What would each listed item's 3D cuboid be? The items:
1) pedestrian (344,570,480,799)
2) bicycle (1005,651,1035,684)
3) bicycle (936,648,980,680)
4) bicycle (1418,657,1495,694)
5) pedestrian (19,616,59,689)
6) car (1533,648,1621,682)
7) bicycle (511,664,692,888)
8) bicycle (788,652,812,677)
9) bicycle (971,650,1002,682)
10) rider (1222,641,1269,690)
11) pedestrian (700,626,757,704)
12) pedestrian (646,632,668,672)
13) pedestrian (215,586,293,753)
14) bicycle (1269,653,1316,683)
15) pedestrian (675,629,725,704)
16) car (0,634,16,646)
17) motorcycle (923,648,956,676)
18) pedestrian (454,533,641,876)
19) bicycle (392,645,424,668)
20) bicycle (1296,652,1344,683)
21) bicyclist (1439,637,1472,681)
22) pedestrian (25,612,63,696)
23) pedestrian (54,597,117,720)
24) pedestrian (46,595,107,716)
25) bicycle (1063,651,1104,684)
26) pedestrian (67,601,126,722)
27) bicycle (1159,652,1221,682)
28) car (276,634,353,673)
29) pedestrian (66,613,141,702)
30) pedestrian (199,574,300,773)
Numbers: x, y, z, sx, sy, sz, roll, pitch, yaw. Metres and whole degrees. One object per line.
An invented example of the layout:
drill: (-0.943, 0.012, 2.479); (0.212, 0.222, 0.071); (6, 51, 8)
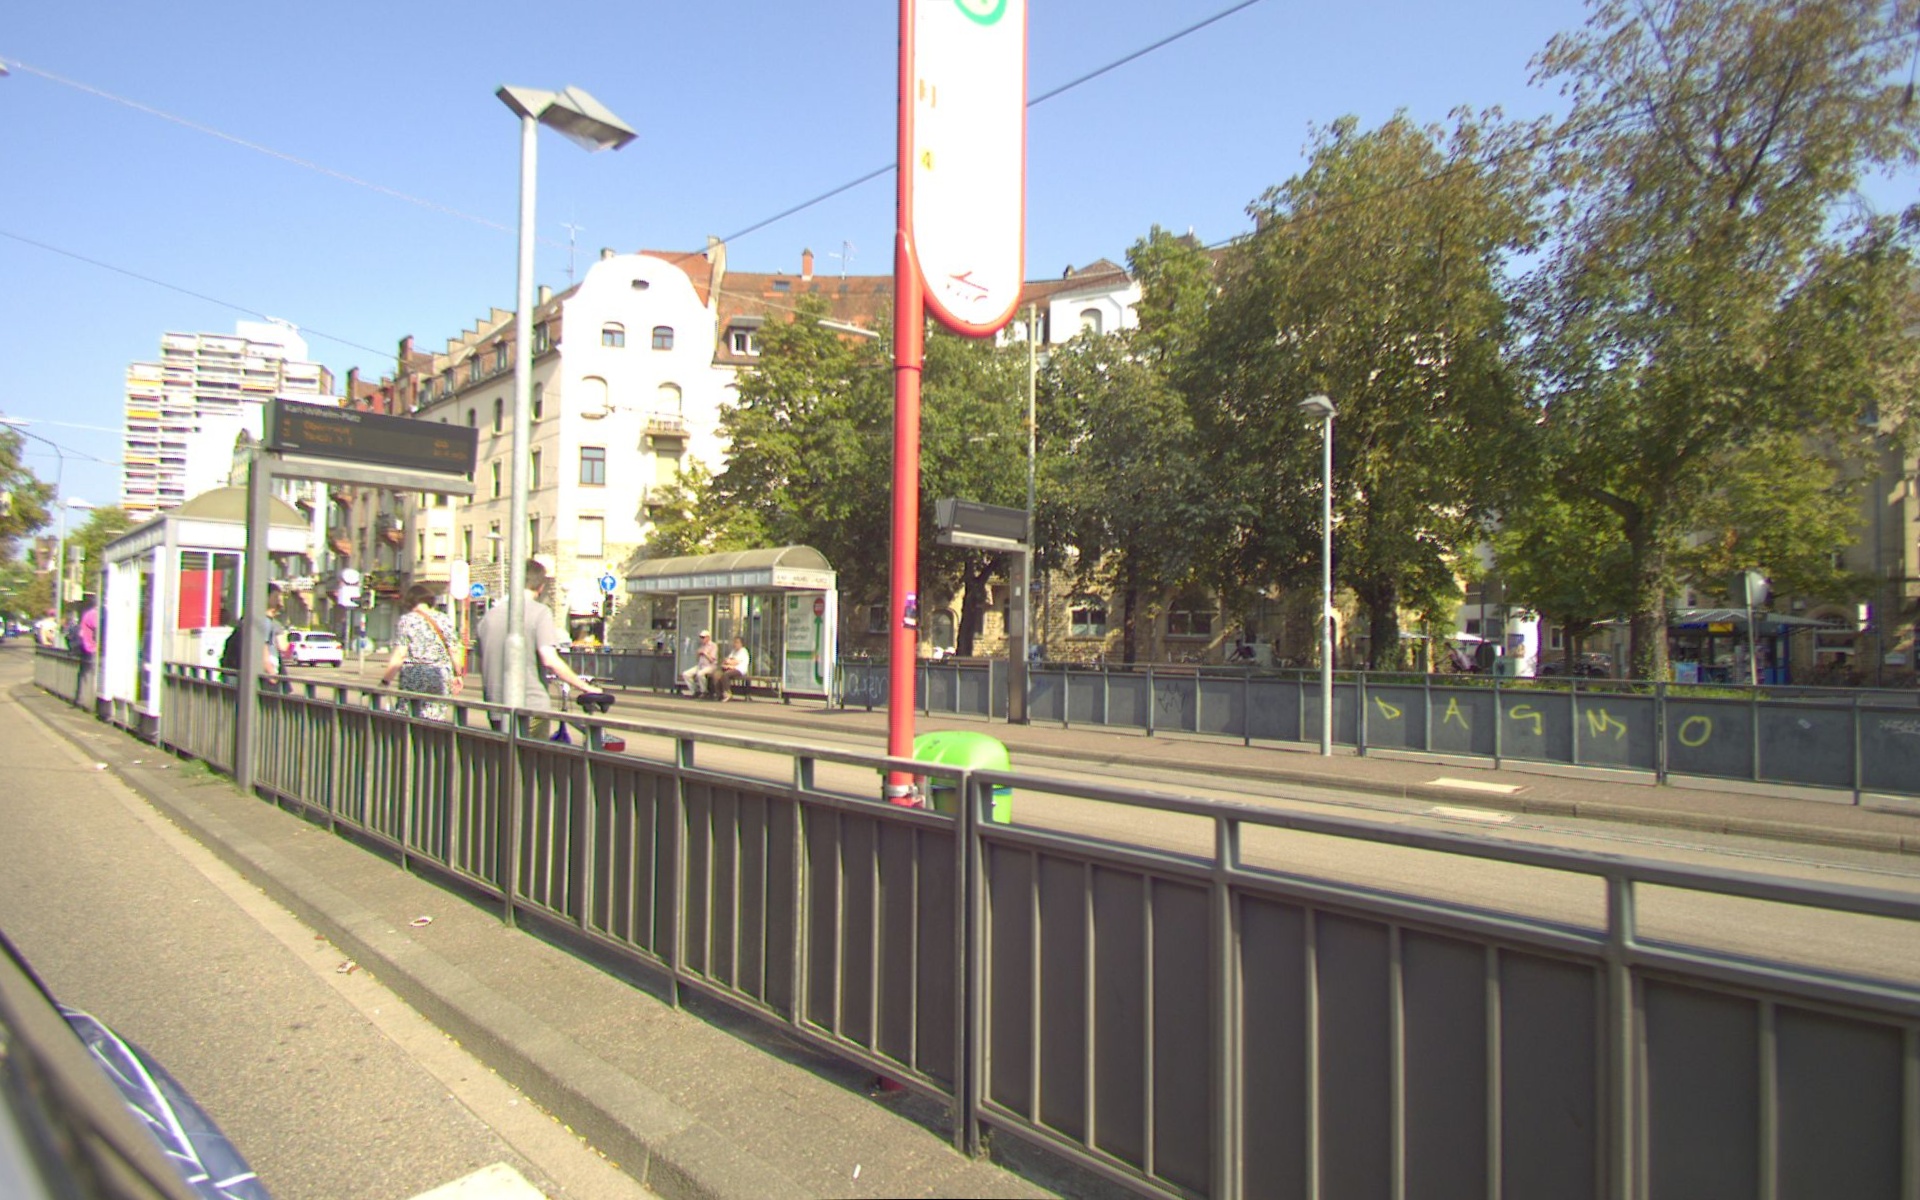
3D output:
pedestrian: (-4.534, 0.677, 8.385); (0.680, 1.774, 0.759); (-2, -4, 42)
bicycle: (2.635, 2.950, 44.343); (0.859, 1.381, 2.292); (0, -3, 15)
bicycle: (-0.076, 2.856, 45.479); (0.865, 1.381, 2.277); (-1, -3, 33)
bicycle: (15.622, 2.378, 31.892); (2.049, 1.112, 0.654); (0, -3, 9)
pedestrian: (-23.154, 1.322, 25.435); (0.720, 1.783, 0.739); (1, -4, -43)
car: (36.128, 3.794, 59.365); (1.965, 1.863, 4.013); (2, -3, -25)
bicycle: (-2.190, 0.957, 6.058); (0.466, 1.112, 1.741); (3, -3, -38)
bicycle: (-7.355, 2.959, 46.685); (0.687, 1.087, 2.340); (1, -3, 1)
bicycle: (1.194, 2.934, 45.055); (0.859, 1.381, 2.292); (0, -3, 15)
rider: (9.247, 2.104, 32.815); (0.982, 1.523, 1.115); (2, -3, -42)
pedestrian: (-4.465, 1.250, 19.549); (0.718, 1.467, 0.783); (-2, -4, 44)
pedestrian: (-14.428, 2.458, 48.206); (0.672, 1.882, 0.726); (-2, -4, 40)
pedestrian: (-7.755, 0.751, 11.126); (0.533, 1.774, 0.546); (-2, -4, 42)
bicycle: (12.582, 2.570, 38.274); (2.059, 1.112, 0.658); (3, -3, -38)
pedestrian: (-5.218, 1.318, 20.324); (0.718, 1.467, 0.669); (-2, -4, 44)
car: (-146.290, 6.145, 155.317); (1.969, 1.662, 4.005); (3, -4, -41)
motorcycle: (-0.921, 2.782, 45.863); (0.674, 1.186, 1.866); (-1, -2, 28)
pedestrian: (-2.360, 0.562, 5.797); (0.796, 1.780, 0.682); (-2, -4, 42)
bicycle: (-28.147, 2.885, 51.584); (1.889, 1.112, 0.540); (-1, -3, 31)
bicycle: (13.292, 2.485, 37.363); (2.059, 1.112, 0.658); (3, -3, -38)
bicyclist: (15.627, 1.857, 31.913); (0.750, 1.370, 0.654); (0, -3, 9)
pedestrian: (-20.316, 1.188, 22.449); (0.552, 1.816, 0.677); (3, -4, -43)
pedestrian: (-13.584, 0.903, 15.718); (0.629, 1.862, 0.634); (3, -4, -44)
pedestrian: (-14.088, 0.881, 16.145); (0.629, 1.862, 0.634); (3, -4, -44)
bicycle: (5.312, 2.879, 43.323); (0.864, 1.381, 2.278); (-1, -3, 31)
pedestrian: (-13.048, 0.922, 15.291); (0.582, 1.777, 0.607); (3, -4, -44)
bicycle: (9.132, 2.644, 40.260); (2.332, 1.112, 0.763); (-2, -3, 42)
car: (-28.882, 2.364, 45.214); (1.970, 1.663, 4.485); (3, -4, -44)
pedestrian: (-16.651, 1.111, 19.686); (0.864, 1.667, 0.807); (-1, -3, 30)
pedestrian: (-6.839, 0.693, 9.745); (0.730, 1.820, 0.597); (-2, -4, 43)
